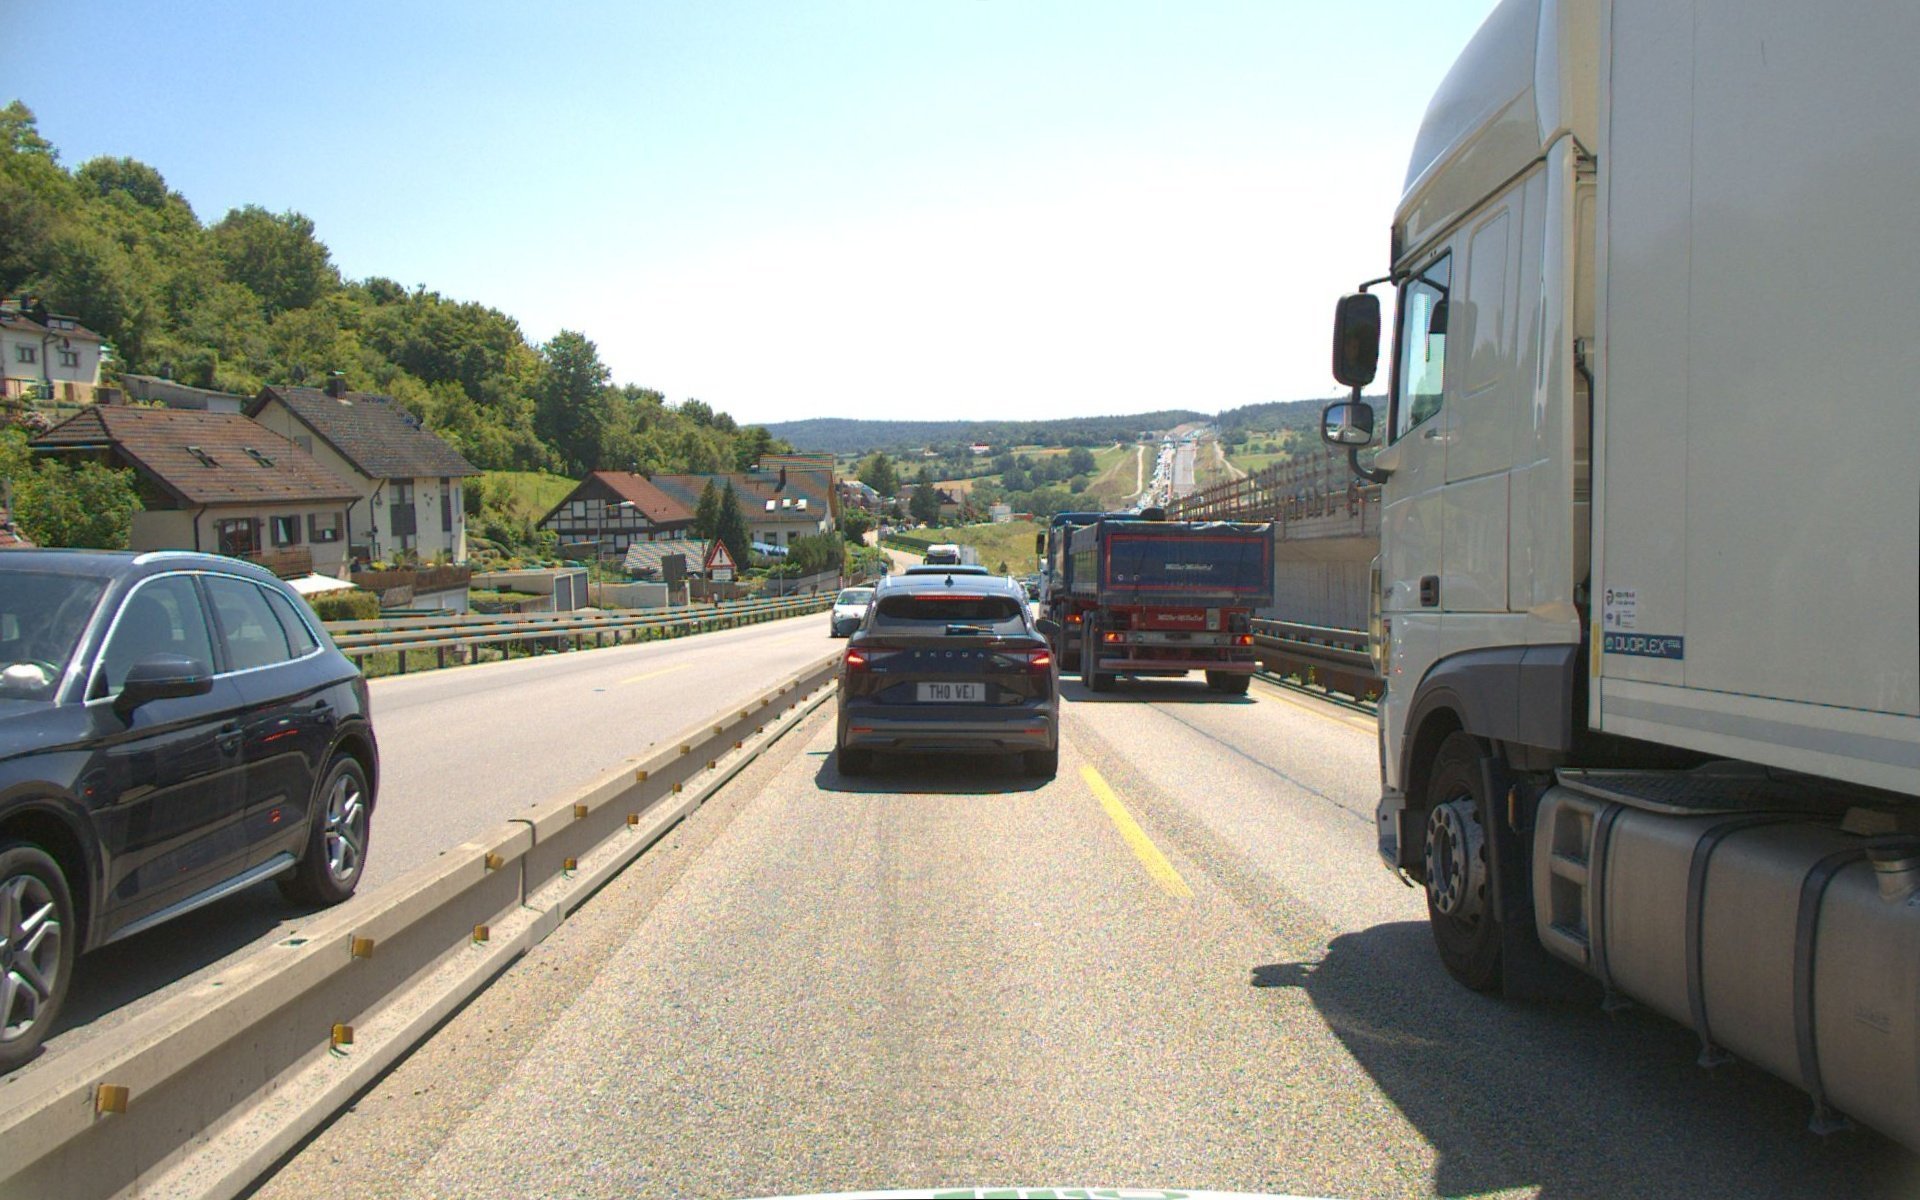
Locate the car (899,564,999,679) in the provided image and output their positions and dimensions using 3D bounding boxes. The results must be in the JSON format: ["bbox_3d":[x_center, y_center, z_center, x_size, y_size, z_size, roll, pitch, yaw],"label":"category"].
[{"bbox_3d":[-0.239,0.332,30.262,1.672,1.914,4.000,1,1,-1],"label":"car"}]

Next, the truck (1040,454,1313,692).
[{"bbox_3d":[3.309,-0.361,29.276,3.129,3.247,12.808,1,0,0],"label":"truck"}]

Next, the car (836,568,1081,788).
[{"bbox_3d":[-0.054,0.586,14.358,1.805,1.614,3.906,1,0,-1],"label":"car"}]

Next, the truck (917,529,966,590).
[{"bbox_3d":[-1.398,-3.036,128.331,3.234,4.438,8.304,1,0,3],"label":"truck"}]

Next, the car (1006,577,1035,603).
[{"bbox_3d":[4.262,-0.677,115.854,1.664,1.758,3.839,1,0,7],"label":"car"}]

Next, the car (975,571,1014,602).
[{"bbox_3d":[1.904,-0.703,89.208,1.952,1.613,3.838,1,0,3],"label":"car"}]

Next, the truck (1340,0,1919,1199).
[{"bbox_3d":[3.129,-0.711,3.601,2.462,4.095,8.235,1,0,-1],"label":"truck"}]

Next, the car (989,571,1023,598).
[{"bbox_3d":[2.878,-0.947,101.866,1.952,1.613,3.838,1,0,3],"label":"car"}]

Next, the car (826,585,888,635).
[{"bbox_3d":[-3.146,0.292,50.965,1.711,1.451,3.709,0,1,-1],"label":"car"}]

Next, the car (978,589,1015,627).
[{"bbox_3d":[1.756,0.352,78.273,1.671,1.650,4.002,1,1,2],"label":"car"}]

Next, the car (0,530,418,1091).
[{"bbox_3d":[-3.756,0.609,6.453,1.878,1.623,4.527,0,0,-1],"label":"car"}]

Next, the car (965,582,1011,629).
[{"bbox_3d":[1.108,0.190,64.434,1.671,1.650,4.002,1,1,2],"label":"car"}]

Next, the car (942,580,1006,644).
[{"bbox_3d":[0.365,0.307,46.917,1.672,1.650,4.000,1,1,-1],"label":"car"}]
